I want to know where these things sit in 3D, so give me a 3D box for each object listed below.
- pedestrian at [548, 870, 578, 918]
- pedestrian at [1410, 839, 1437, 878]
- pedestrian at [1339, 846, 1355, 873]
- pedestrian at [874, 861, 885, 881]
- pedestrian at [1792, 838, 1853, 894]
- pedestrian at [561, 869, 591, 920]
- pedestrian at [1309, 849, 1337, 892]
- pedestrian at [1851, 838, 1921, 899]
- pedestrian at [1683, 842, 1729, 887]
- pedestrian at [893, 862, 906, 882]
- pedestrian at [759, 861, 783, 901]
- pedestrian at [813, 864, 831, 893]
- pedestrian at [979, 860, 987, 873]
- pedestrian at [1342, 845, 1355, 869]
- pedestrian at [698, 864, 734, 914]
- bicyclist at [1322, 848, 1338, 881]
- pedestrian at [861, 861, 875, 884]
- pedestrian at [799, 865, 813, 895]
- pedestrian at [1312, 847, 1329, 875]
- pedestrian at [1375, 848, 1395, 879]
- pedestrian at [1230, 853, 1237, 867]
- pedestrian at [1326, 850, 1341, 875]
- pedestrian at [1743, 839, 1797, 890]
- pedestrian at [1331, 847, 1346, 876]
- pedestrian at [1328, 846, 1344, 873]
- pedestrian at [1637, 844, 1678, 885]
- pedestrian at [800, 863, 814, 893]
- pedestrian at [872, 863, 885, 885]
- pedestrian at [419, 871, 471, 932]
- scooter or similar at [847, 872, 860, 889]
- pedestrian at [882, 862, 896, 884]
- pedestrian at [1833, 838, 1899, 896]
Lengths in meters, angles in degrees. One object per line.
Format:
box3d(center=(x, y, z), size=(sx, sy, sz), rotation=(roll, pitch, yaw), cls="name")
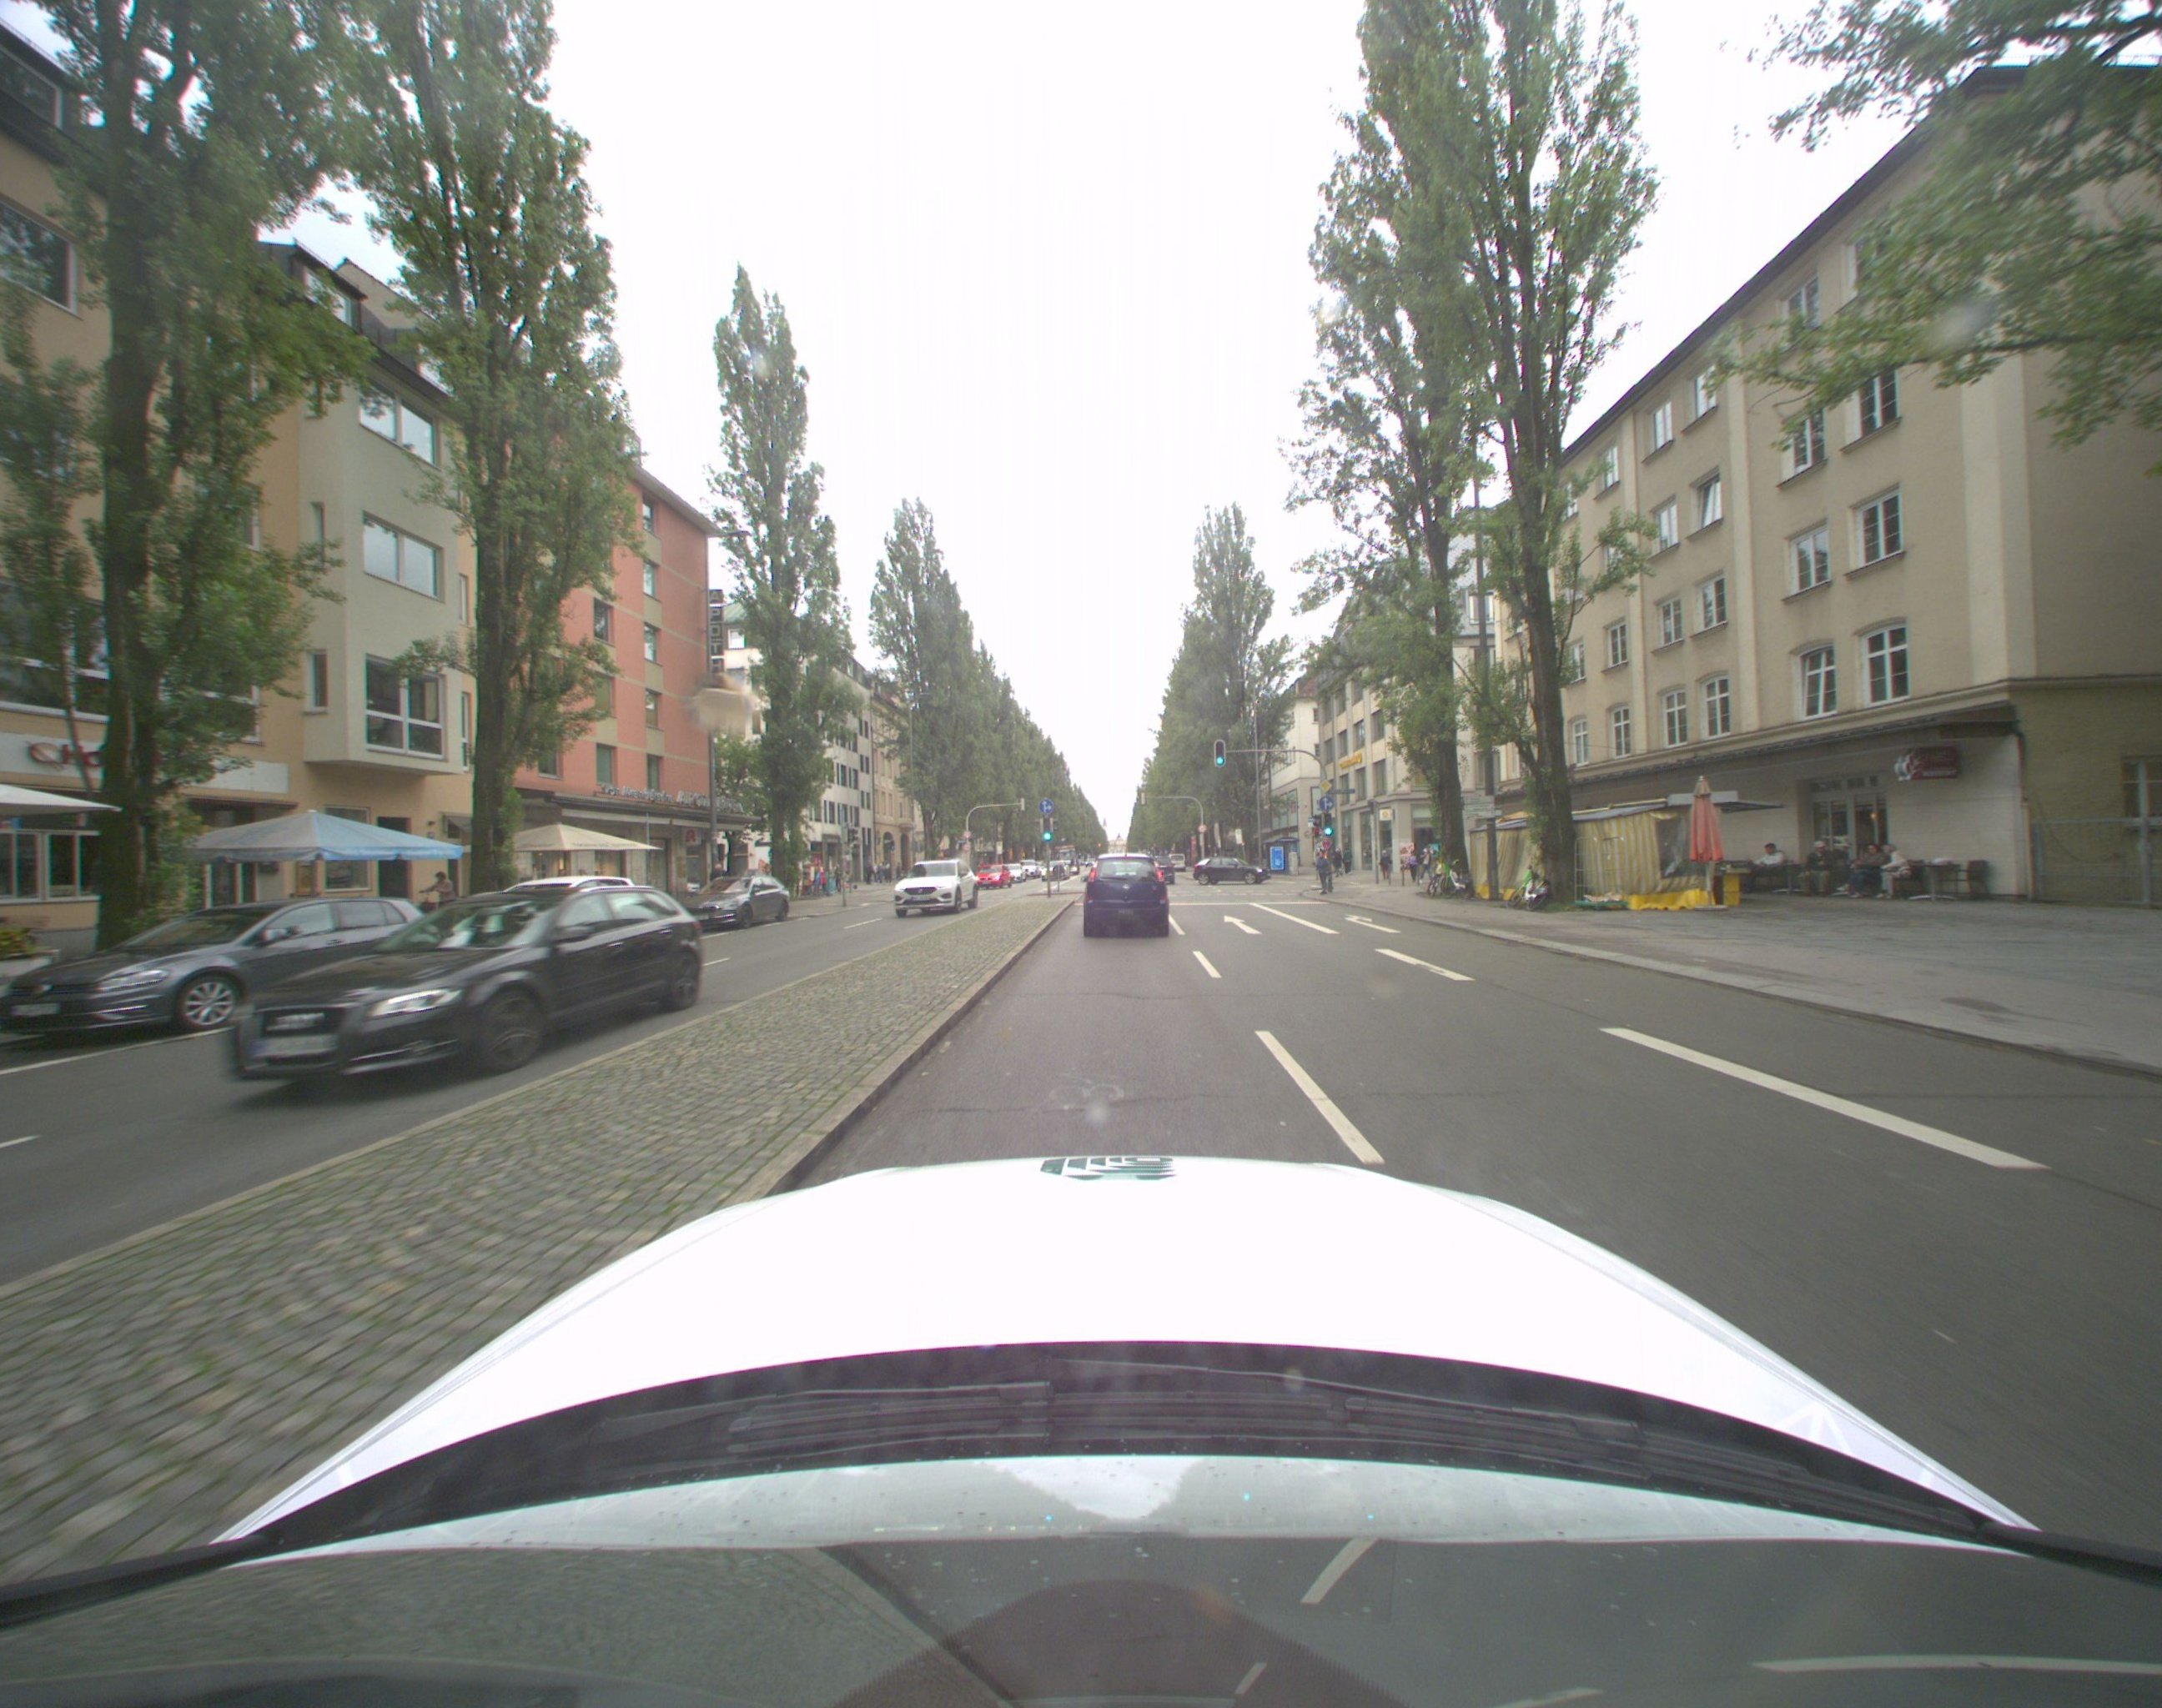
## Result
box3d(center=(-18.208, 1.402, 28.616), size=(0.552, 1.638, 0.692), rotation=(-2, 0, 2), cls="pedestrian")
box3d(center=(15.488, 0.225, 36.804), size=(0.670, 1.703, 0.850), rotation=(0, -3, -40), cls="pedestrian")
box3d(center=(17.646, 0.372, 53.952), size=(0.747, 1.758, 0.860), rotation=(-2, -2, 4), cls="pedestrian")
box3d(center=(-18.468, 1.566, 74.684), size=(0.696, 1.787, 0.821), rotation=(-2, -1, 4), cls="pedestrian")
box3d(center=(17.500, 0.278, 19.244), size=(0.772, 1.264, 0.700), rotation=(-2, -1, 3), cls="pedestrian")
box3d(center=(-17.572, 1.390, 28.343), size=(0.552, 1.717, 0.692), rotation=(-2, 0, 2), cls="pedestrian")
box3d(center=(9.170, 0.621, 30.899), size=(0.763, 1.610, 0.864), rotation=(-2, 0, -2), cls="pedestrian")
box3d(center=(17.325, 0.302, 17.538), size=(0.772, 1.264, 0.700), rotation=(-2, -1, 3), cls="pedestrian")
box3d(center=(17.971, 0.303, 23.425), size=(0.772, 1.264, 0.700), rotation=(-2, -1, 3), cls="pedestrian")
box3d(center=(-15.501, 1.525, 69.631), size=(0.775, 1.618, 0.935), rotation=(-2, 0, 2), cls="pedestrian")
box3d(center=(-14.211, 1.238, 37.397), size=(0.721, 1.771, 0.778), rotation=(-2, -1, 3), cls="pedestrian")
box3d(center=(-15.577, 1.460, 48.974), size=(0.724, 1.740, 0.942), rotation=(0, -1, 2), cls="pedestrian")
box3d(center=(-12.927, 1.598, 107.487), size=(0.731, 1.673, 0.953), rotation=(-2, -1, 2), cls="pedestrian")
box3d(center=(19.752, 0.213, 60.118), size=(0.747, 1.758, 0.711), rotation=(-2, -1, 4), cls="pedestrian")
box3d(center=(-13.358, 1.251, 29.826), size=(0.729, 1.796, 0.997), rotation=(-1, -1, 21), cls="pedestrian")
box3d(center=(12.368, 0.520, 40.498), size=(0.619, 1.588, 0.481), rotation=(-2, -1, 2), cls="bicyclist")
box3d(center=(-16.557, 1.442, 63.236), size=(0.796, 1.787, 0.912), rotation=(0, 0, 3), cls="pedestrian")
box3d(center=(-15.484, 1.441, 45.856), size=(0.627, 1.689, 0.519), rotation=(-1, -1, 3), cls="pedestrian")
box3d(center=(15.554, 0.453, 52.820), size=(0.815, 1.818, 0.891), rotation=(-2, -1, 1), cls="pedestrian")
box3d(center=(16.651, 0.512, 44.628), size=(0.746, 1.636, 0.735), rotation=(-3, -3, 5), cls="pedestrian")
box3d(center=(20.377, 0.854, 108.752), size=(0.822, 1.841, 1.101), rotation=(-2, -1, 6), cls="pedestrian")
box3d(center=(17.505, 0.561, 56.500), size=(0.747, 1.677, 0.964), rotation=(-2, 0, 4), cls="pedestrian")
box3d(center=(17.718, 0.278, 20.961), size=(0.772, 1.264, 0.700), rotation=(-2, -1, 3), cls="pedestrian")
box3d(center=(16.177, 0.463, 51.142), size=(0.705, 1.758, 0.753), rotation=(-2, -1, 4), cls="pedestrian")
box3d(center=(16.891, 0.379, 54.009), size=(0.747, 1.758, 0.860), rotation=(-2, -2, 4), cls="pedestrian")
box3d(center=(18.143, 0.328, 25.628), size=(0.772, 1.264, 0.700), rotation=(-2, -1, 3), cls="pedestrian")
box3d(center=(-15.636, 1.372, 46.485), size=(0.584, 1.691, 0.514), rotation=(-2, -1, 2), cls="pedestrian")
box3d(center=(-15.765, 1.519, 63.325), size=(0.729, 1.682, 0.978), rotation=(0, 0, 2), cls="pedestrian")
box3d(center=(-18.212, 1.356, 23.335), size=(0.777, 1.668, 0.802), rotation=(-2, 0, 2), cls="pedestrian")
box3d(center=(-15.536, 1.804, 55.575), size=(0.811, 1.093, 0.274), rotation=(0, -1, -2), cls="scooter or similar")
box3d(center=(-14.579, 1.439, 61.979), size=(0.747, 1.567, 0.989), rotation=(-2, -1, 2), cls="pedestrian")
box3d(center=(17.586, 0.291, 18.259), size=(0.772, 1.264, 0.700), rotation=(-2, -1, 3), cls="pedestrian")
